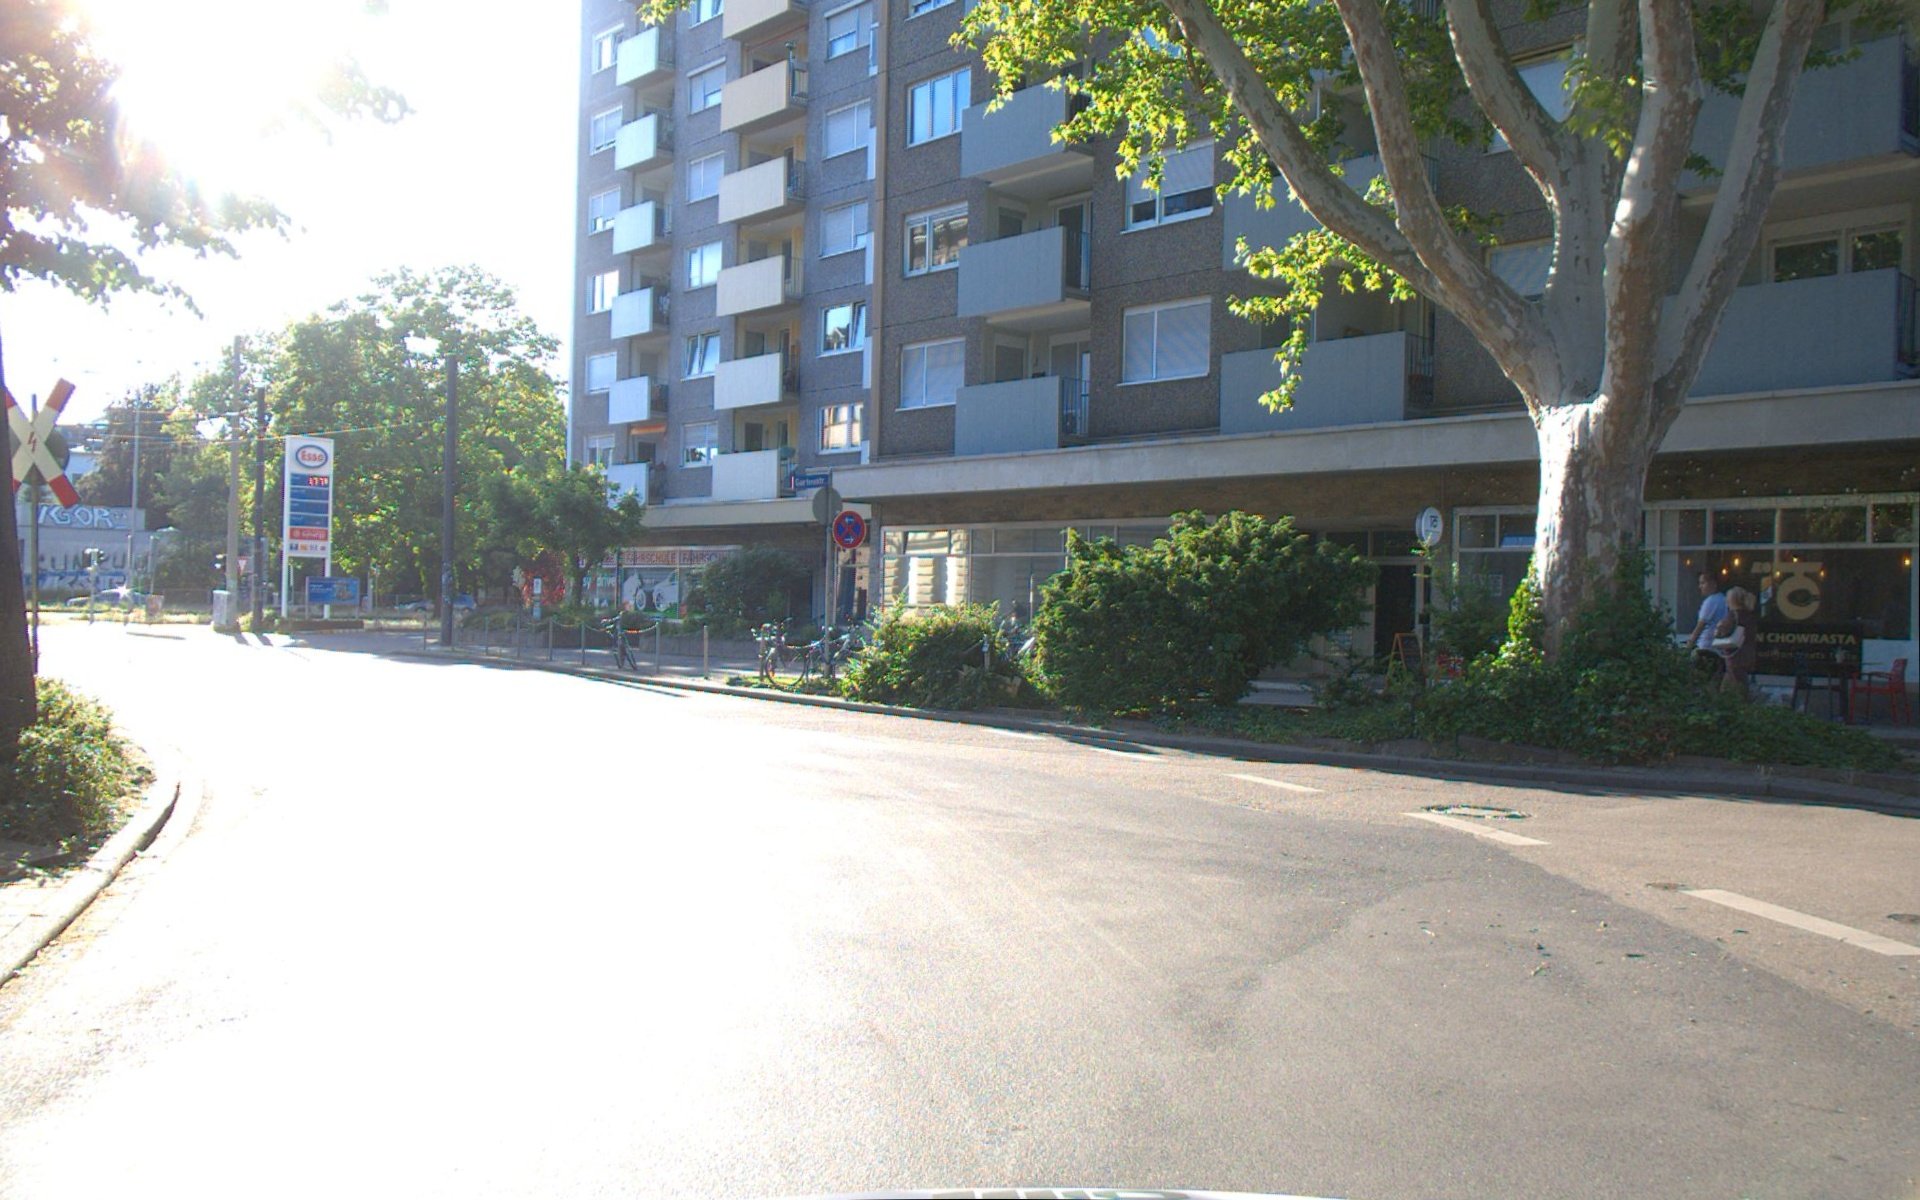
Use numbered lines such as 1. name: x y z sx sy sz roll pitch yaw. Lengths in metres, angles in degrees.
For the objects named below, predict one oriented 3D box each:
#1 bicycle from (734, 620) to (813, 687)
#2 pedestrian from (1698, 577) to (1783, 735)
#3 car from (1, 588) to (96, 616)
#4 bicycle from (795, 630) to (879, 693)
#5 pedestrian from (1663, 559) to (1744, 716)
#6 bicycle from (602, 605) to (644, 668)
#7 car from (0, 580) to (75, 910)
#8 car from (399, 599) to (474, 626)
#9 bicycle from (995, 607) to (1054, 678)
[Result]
1. bicycle: -3.115 0.870 27.447 0.630 1.040 2.070 1 0 -26
2. pedestrian: 8.759 0.614 18.559 0.679 1.722 0.636 1 -1 -38
3. car: -51.339 0.105 93.261 4.409 1.513 1.770 1 0 -20
4. bicycle: -1.949 0.948 25.967 0.537 0.920 1.715 1 0 -33
5. pedestrian: 8.726 0.428 19.418 0.679 1.804 0.627 1 -1 -38
6. bicycle: -6.928 0.737 33.935 0.628 1.247 2.078 1 0 -17
7. car: -6.371 0.548 7.391 4.190 1.454 1.775 2 -1 17
8. car: -29.944 0.696 94.581 3.934 1.478 1.796 1 0 -24
9. bicycle: 0.976 0.638 25.171 0.345 1.056 1.040 1 0 -34
